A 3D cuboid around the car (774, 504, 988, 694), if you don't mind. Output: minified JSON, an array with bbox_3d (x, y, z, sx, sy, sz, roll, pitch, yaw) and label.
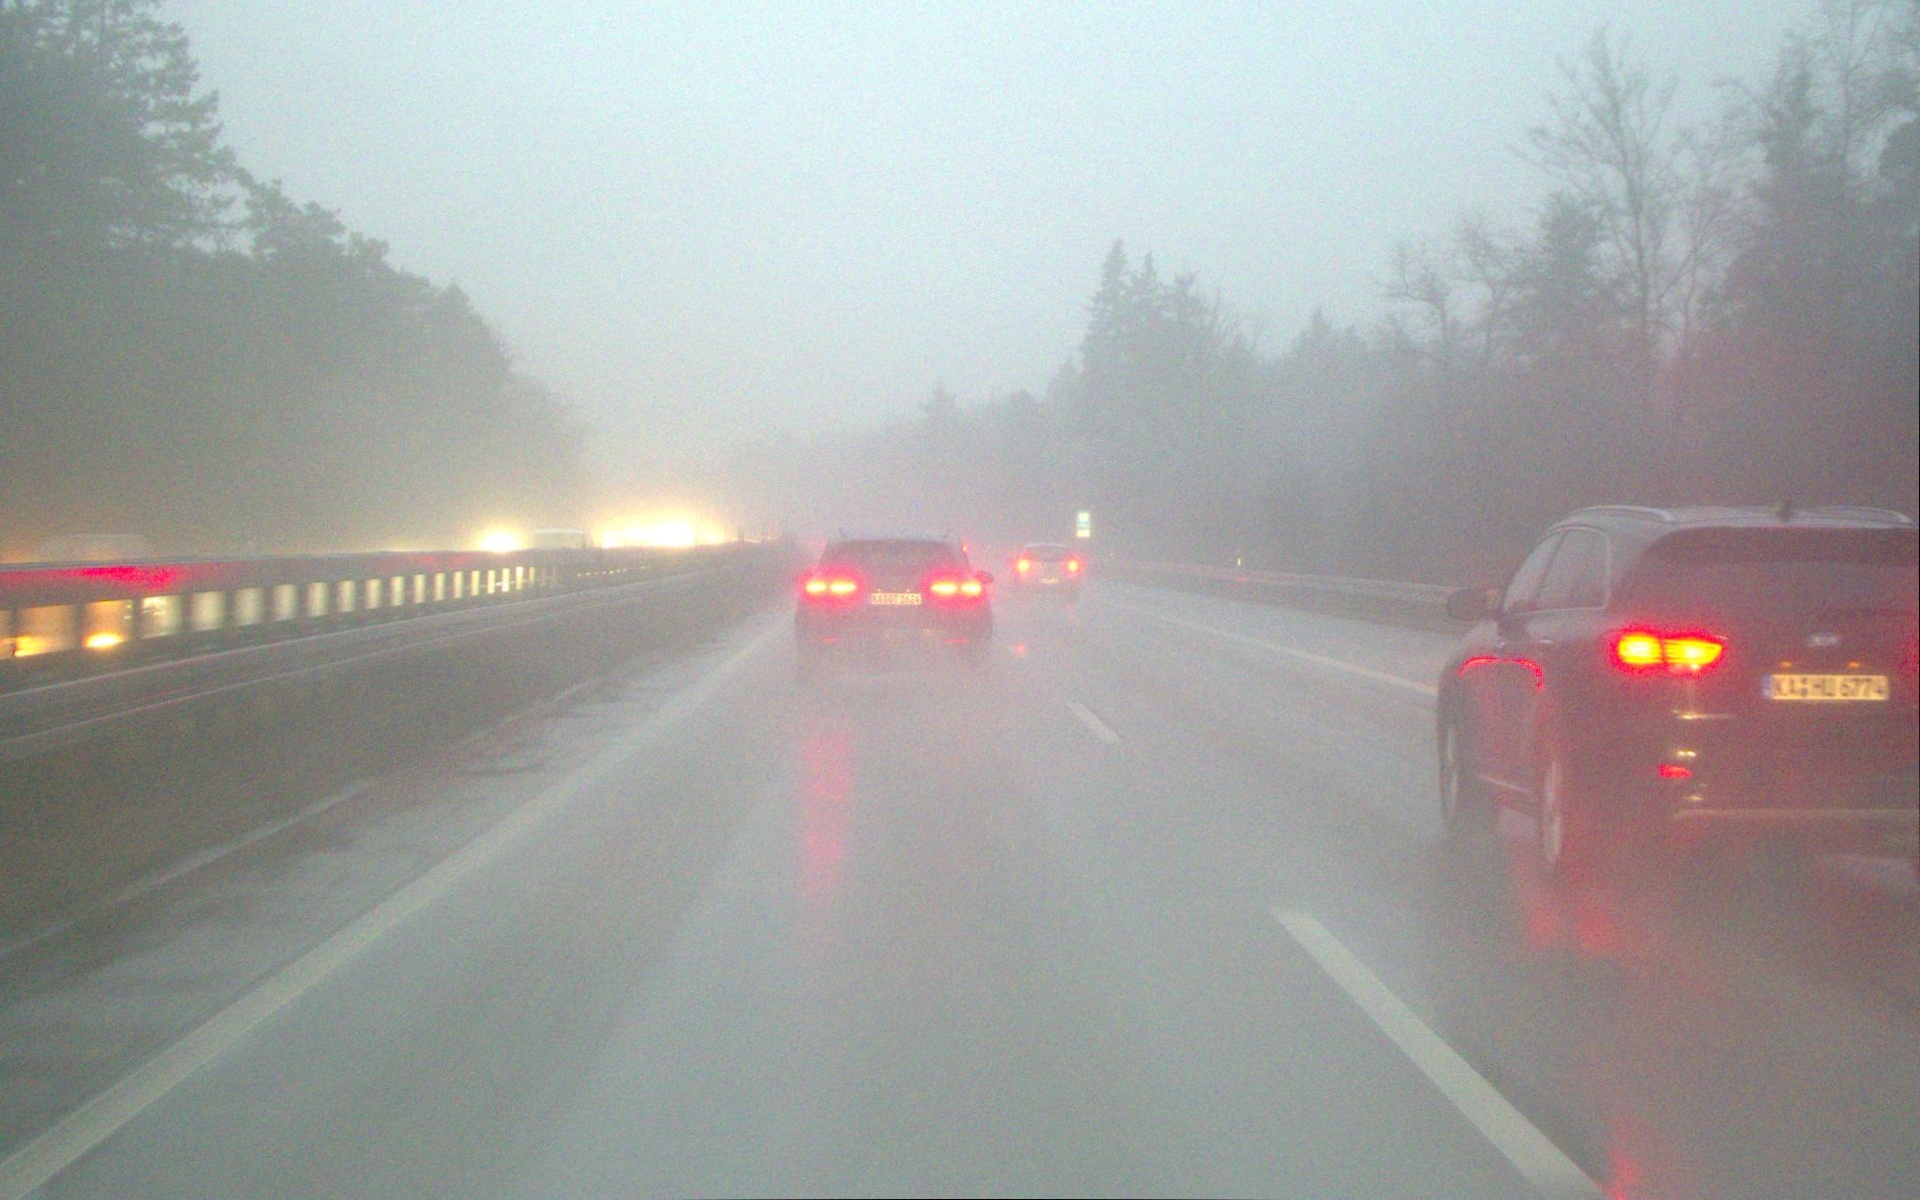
[{"bbox_3d":[-0.815,-0.041,34.384,1.986,1.761,4.174,-1,1,-2],"label":"car"}]

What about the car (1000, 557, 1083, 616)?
[{"bbox_3d":[2.054,-0.365,87.660,1.780,1.432,3.538,1,1,-4],"label":"car"}]

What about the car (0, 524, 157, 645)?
[{"bbox_3d":[-12.897,-0.209,48.933,1.993,1.569,4.273,3,-1,-2],"label":"car"}]

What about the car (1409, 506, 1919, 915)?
[{"bbox_3d":[3.529,0.424,16.536,2.070,1.692,4.461,0,1,-1],"label":"car"}]
